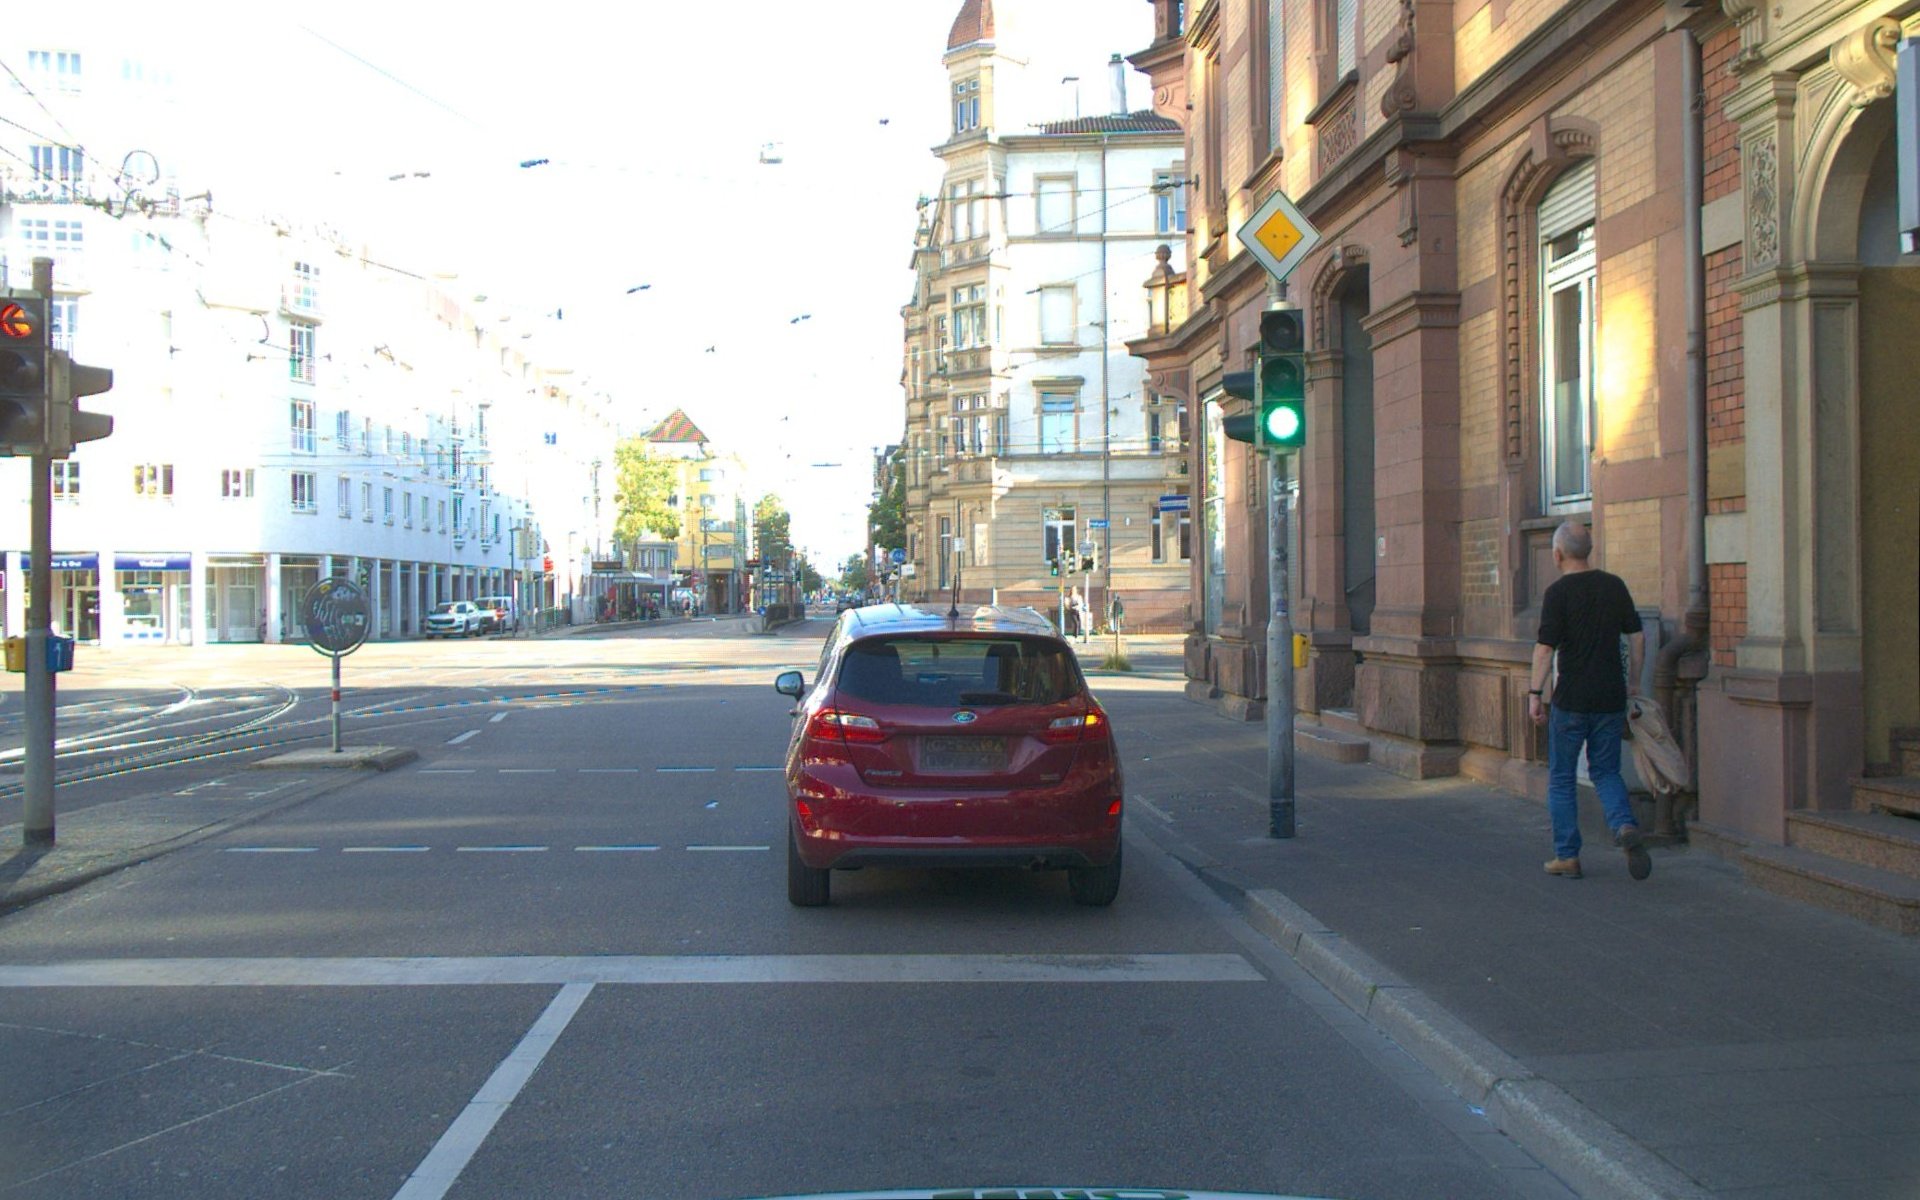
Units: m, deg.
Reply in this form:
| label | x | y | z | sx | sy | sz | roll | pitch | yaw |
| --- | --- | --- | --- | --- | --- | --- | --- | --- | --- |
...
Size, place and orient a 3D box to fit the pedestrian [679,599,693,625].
| label | x | y | z | sx | sy | sz | roll | pitch | yaw |
| --- | --- | --- | --- | --- | --- | --- | --- | --- | --- |
| pedestrian | -20.614 | 0.912 | 124.556 | 0.865 | 1.938 | 0.929 | 0 | -1 | -20 |

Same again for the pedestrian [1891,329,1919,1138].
| label | x | y | z | sx | sy | sz | roll | pitch | yaw |
| --- | --- | --- | --- | --- | --- | --- | --- | --- | --- |
| pedestrian | 2.311 | 0.423 | 2.944 | 0.805 | 1.927 | 0.754 | -2 | 0 | -4 |

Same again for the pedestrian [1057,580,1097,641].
| label | x | y | z | sx | sy | sz | roll | pitch | yaw |
| --- | --- | --- | --- | --- | --- | --- | --- | --- | --- |
| pedestrian | 3.594 | 0.306 | 50.773 | 1.003 | 1.838 | 1.081 | -1 | 0 | -7 |

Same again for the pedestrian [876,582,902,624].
| label | x | y | z | sx | sy | sz | roll | pitch | yaw |
| --- | --- | --- | --- | --- | --- | --- | --- | --- | --- |
| pedestrian | -3.029 | 0.142 | 70.493 | 0.705 | 1.751 | 0.794 | -3 | -1 | 36 |

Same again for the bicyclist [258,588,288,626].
| label | x | y | z | sx | sy | sz | roll | pitch | yaw |
| --- | --- | --- | --- | --- | --- | --- | --- | --- | --- |
| bicyclist | -27.309 | 0.260 | 65.729 | 0.824 | 1.493 | 0.896 | -1 | 0 | -3 |

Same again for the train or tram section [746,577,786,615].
| label | x | y | z | sx | sy | sz | roll | pitch | yaw |
| --- | --- | --- | --- | --- | --- | --- | --- | --- | --- |
| train or tram section | -18.863 | -0.387 | 161.730 | 2.827 | 3.551 | 14.159 | 0 | 0 | -3 |

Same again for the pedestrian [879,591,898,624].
| label | x | y | z | sx | sy | sz | roll | pitch | yaw |
| --- | --- | --- | --- | --- | --- | --- | --- | --- | --- |
| pedestrian | -3.006 | 0.316 | 69.560 | 0.703 | 1.355 | 0.795 | -2 | -1 | -6 |

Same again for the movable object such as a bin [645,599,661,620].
| label | x | y | z | sx | sy | sz | roll | pitch | yaw |
| --- | --- | --- | --- | --- | --- | --- | --- | --- | --- |
| movable object such as a bin | -19.796 | 0.599 | 106.583 | 0.919 | 1.309 | 0.933 | -1 | -1 | -6 |

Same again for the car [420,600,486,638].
| label | x | y | z | sx | sy | sz | roll | pitch | yaw |
| --- | --- | --- | --- | --- | --- | --- | --- | --- | --- |
| car | -23.455 | 0.850 | 76.704 | 1.954 | 1.648 | 4.506 | -1 | 0 | -4 |

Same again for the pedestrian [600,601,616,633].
| label | x | y | z | sx | sy | sz | roll | pitch | yaw |
| --- | --- | --- | --- | --- | --- | --- | --- | --- | --- |
| pedestrian | -19.139 | 0.921 | 89.965 | 0.751 | 1.763 | 0.518 | -1 | -1 | 38 |

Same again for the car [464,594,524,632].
| label | x | y | z | sx | sy | sz | roll | pitch | yaw |
| --- | --- | --- | --- | --- | --- | --- | --- | --- | --- |
| car | -24.008 | 0.648 | 85.421 | 1.954 | 1.870 | 5.342 | -1 | 0 | -4 |

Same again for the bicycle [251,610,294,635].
| label | x | y | z | sx | sy | sz | roll | pitch | yaw |
| --- | --- | --- | --- | --- | --- | --- | --- | --- | --- |
| bicycle | -27.309 | 0.873 | 65.715 | 0.824 | 0.943 | 2.264 | -1 | 0 | -2 |

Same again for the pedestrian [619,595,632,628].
| label | x | y | z | sx | sy | sz | roll | pitch | yaw |
| --- | --- | --- | --- | --- | --- | --- | --- | --- | --- |
| pedestrian | -19.771 | 0.653 | 97.899 | 0.682 | 1.938 | 0.671 | -1 | -1 | -7 |

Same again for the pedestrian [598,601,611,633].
| label | x | y | z | sx | sy | sz | roll | pitch | yaw |
| --- | --- | --- | --- | --- | --- | --- | --- | --- | --- |
| pedestrian | -18.911 | 0.904 | 87.913 | 0.587 | 1.721 | 0.613 | -1 | -1 | -4 |

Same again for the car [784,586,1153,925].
| label | x | y | z | sx | sy | sz | roll | pitch | yaw |
| --- | --- | --- | --- | --- | --- | --- | --- | --- | --- |
| car | -0.095 | 0.711 | 9.299 | 1.659 | 1.521 | 3.576 | 1 | 0 | -5 |

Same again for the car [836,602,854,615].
| label | x | y | z | sx | sy | sz | roll | pitch | yaw |
| --- | --- | --- | --- | --- | --- | --- | --- | --- | --- |
| car | -12.856 | 0.962 | 184.651 | 1.954 | 1.475 | 3.997 | 0 | 0 | -4 |

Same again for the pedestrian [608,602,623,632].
| label | x | y | z | sx | sy | sz | roll | pitch | yaw |
| --- | --- | --- | --- | --- | --- | --- | --- | --- | --- |
| pedestrian | -19.634 | 0.956 | 94.147 | 0.687 | 1.721 | 0.666 | 0 | -1 | -28 |

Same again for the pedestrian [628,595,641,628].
| label | x | y | z | sx | sy | sz | roll | pitch | yaw |
| --- | --- | --- | --- | --- | --- | --- | --- | --- | --- |
| pedestrian | -19.433 | 0.667 | 98.712 | 0.682 | 1.938 | 0.671 | -1 | -1 | -7 |

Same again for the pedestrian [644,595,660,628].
| label | x | y | z | sx | sy | sz | roll | pitch | yaw |
| --- | --- | --- | --- | --- | --- | --- | --- | --- | --- |
| pedestrian | -18.669 | 0.695 | 100.248 | 0.914 | 1.938 | 0.880 | -1 | -1 | -7 |

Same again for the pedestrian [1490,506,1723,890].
| label | x | y | z | sx | sy | sz | roll | pitch | yaw |
| --- | --- | --- | --- | --- | --- | --- | --- | --- | --- |
| pedestrian | 3.125 | 0.451 | 8.056 | 0.760 | 1.753 | 0.754 | -2 | 0 | -4 |

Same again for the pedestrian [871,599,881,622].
| label | x | y | z | sx | sy | sz | roll | pitch | yaw |
| --- | --- | --- | --- | --- | --- | --- | --- | --- | --- |
| pedestrian | -6.858 | 0.840 | 135.347 | 0.700 | 1.805 | 0.772 | -3 | 1 | -7 |

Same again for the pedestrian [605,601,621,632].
| label | x | y | z | sx | sy | sz | roll | pitch | yaw |
| --- | --- | --- | --- | --- | --- | --- | --- | --- | --- |
| pedestrian | -19.355 | 0.941 | 92.297 | 0.687 | 1.721 | 0.666 | 0 | -1 | -28 |

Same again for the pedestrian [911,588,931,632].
| label | x | y | z | sx | sy | sz | roll | pitch | yaw |
| --- | --- | --- | --- | --- | --- | --- | --- | --- | --- |
| pedestrian | -1.694 | 0.409 | 71.766 | 0.785 | 1.855 | 0.797 | -2 | 1 | -4 |
